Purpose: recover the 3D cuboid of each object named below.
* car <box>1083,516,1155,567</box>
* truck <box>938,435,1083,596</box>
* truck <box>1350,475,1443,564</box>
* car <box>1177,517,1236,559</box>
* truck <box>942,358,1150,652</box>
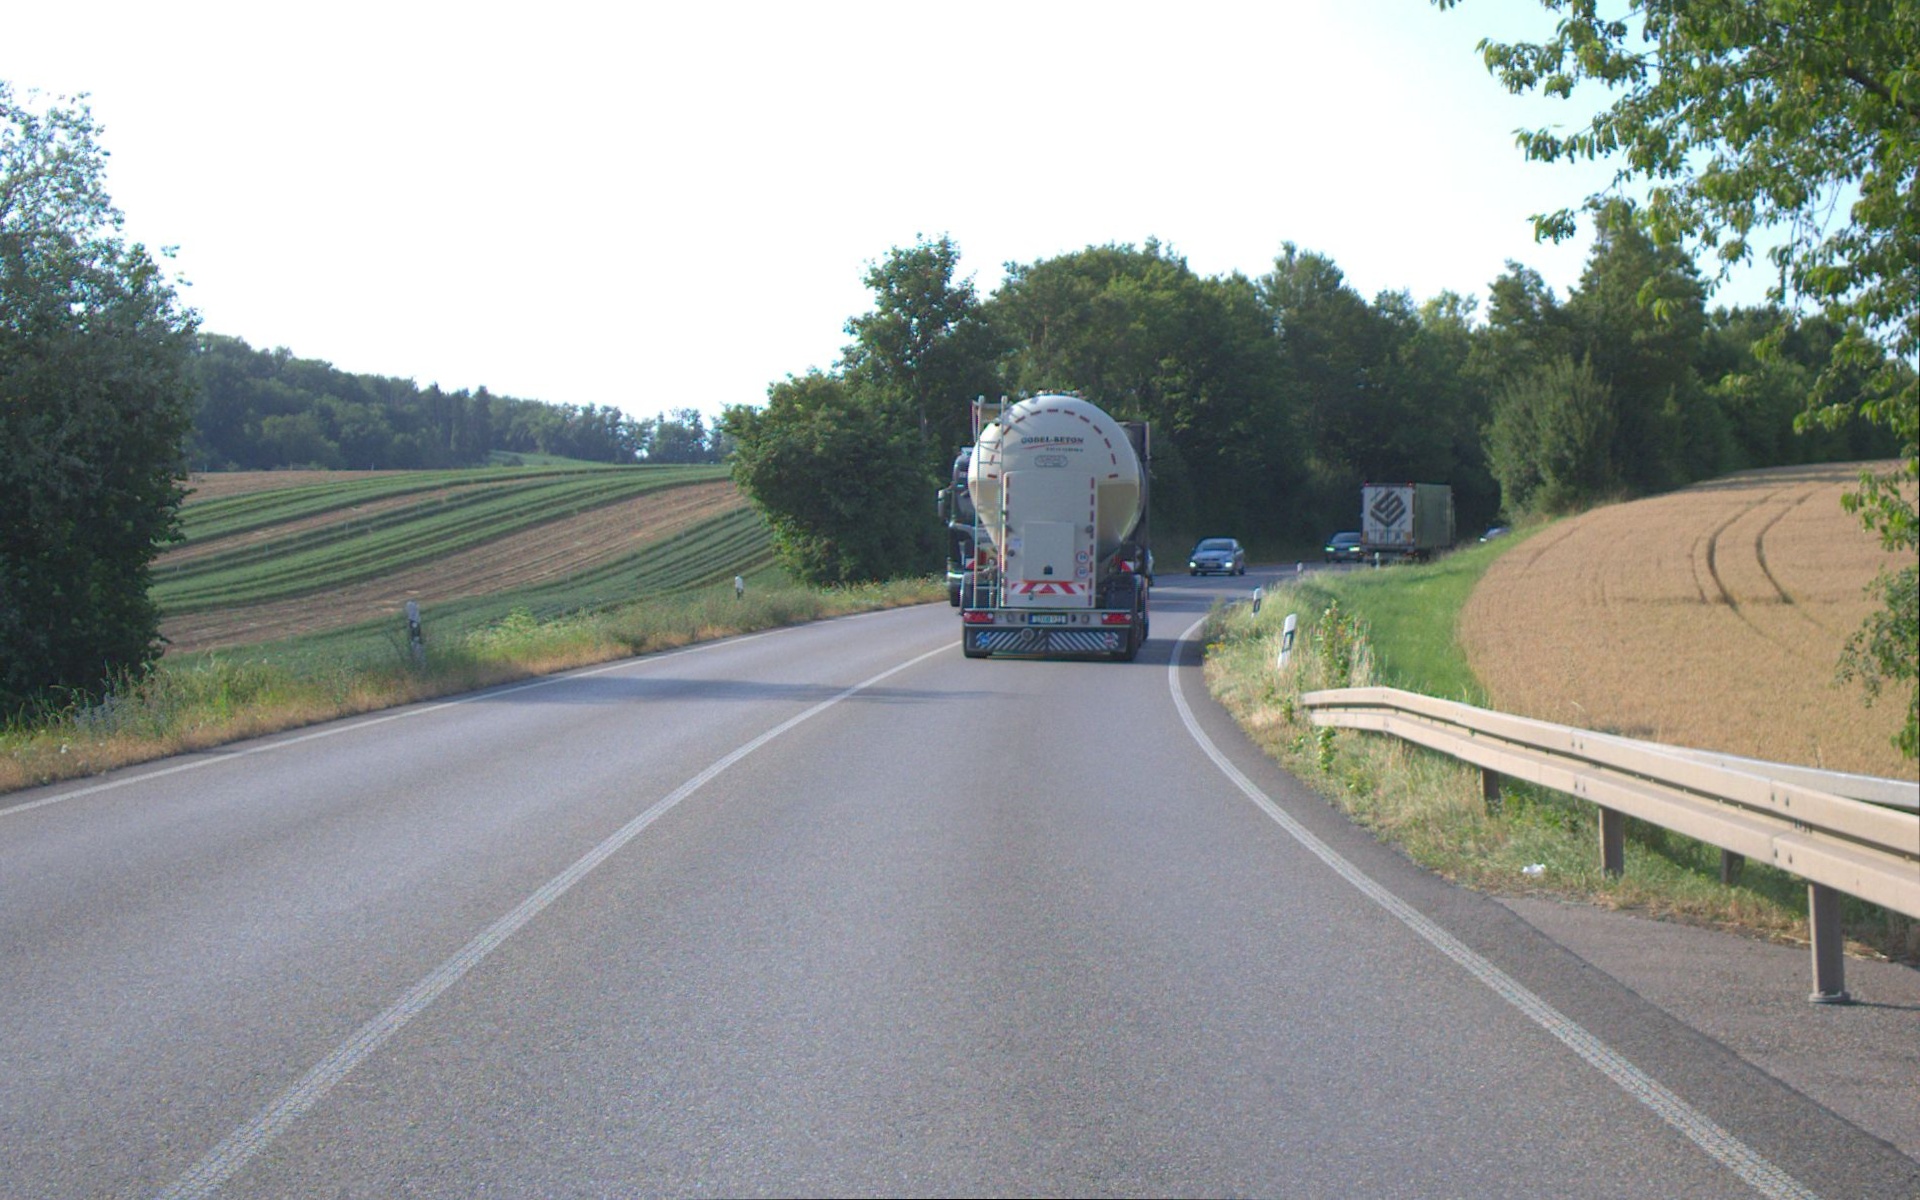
[{"bbox_3d":[5.420,-2.002,116.839,1.976,1.645,4.361,0,2,9],"label":"car"},{"bbox_3d":[1.411,-2.196,88.819,2.390,3.907,10.157,0,2,8],"label":"truck"},{"bbox_3d":[21.766,-4.050,170.761,3.185,4.213,13.165,0,2,13],"label":"truck"},{"bbox_3d":[10.168,-2.559,141.503,1.976,1.645,4.360,0,2,10],"label":"car"},{"bbox_3d":[1.470,-1.455,55.162,2.893,4.128,13.171,1,1,2],"label":"truck"}]
